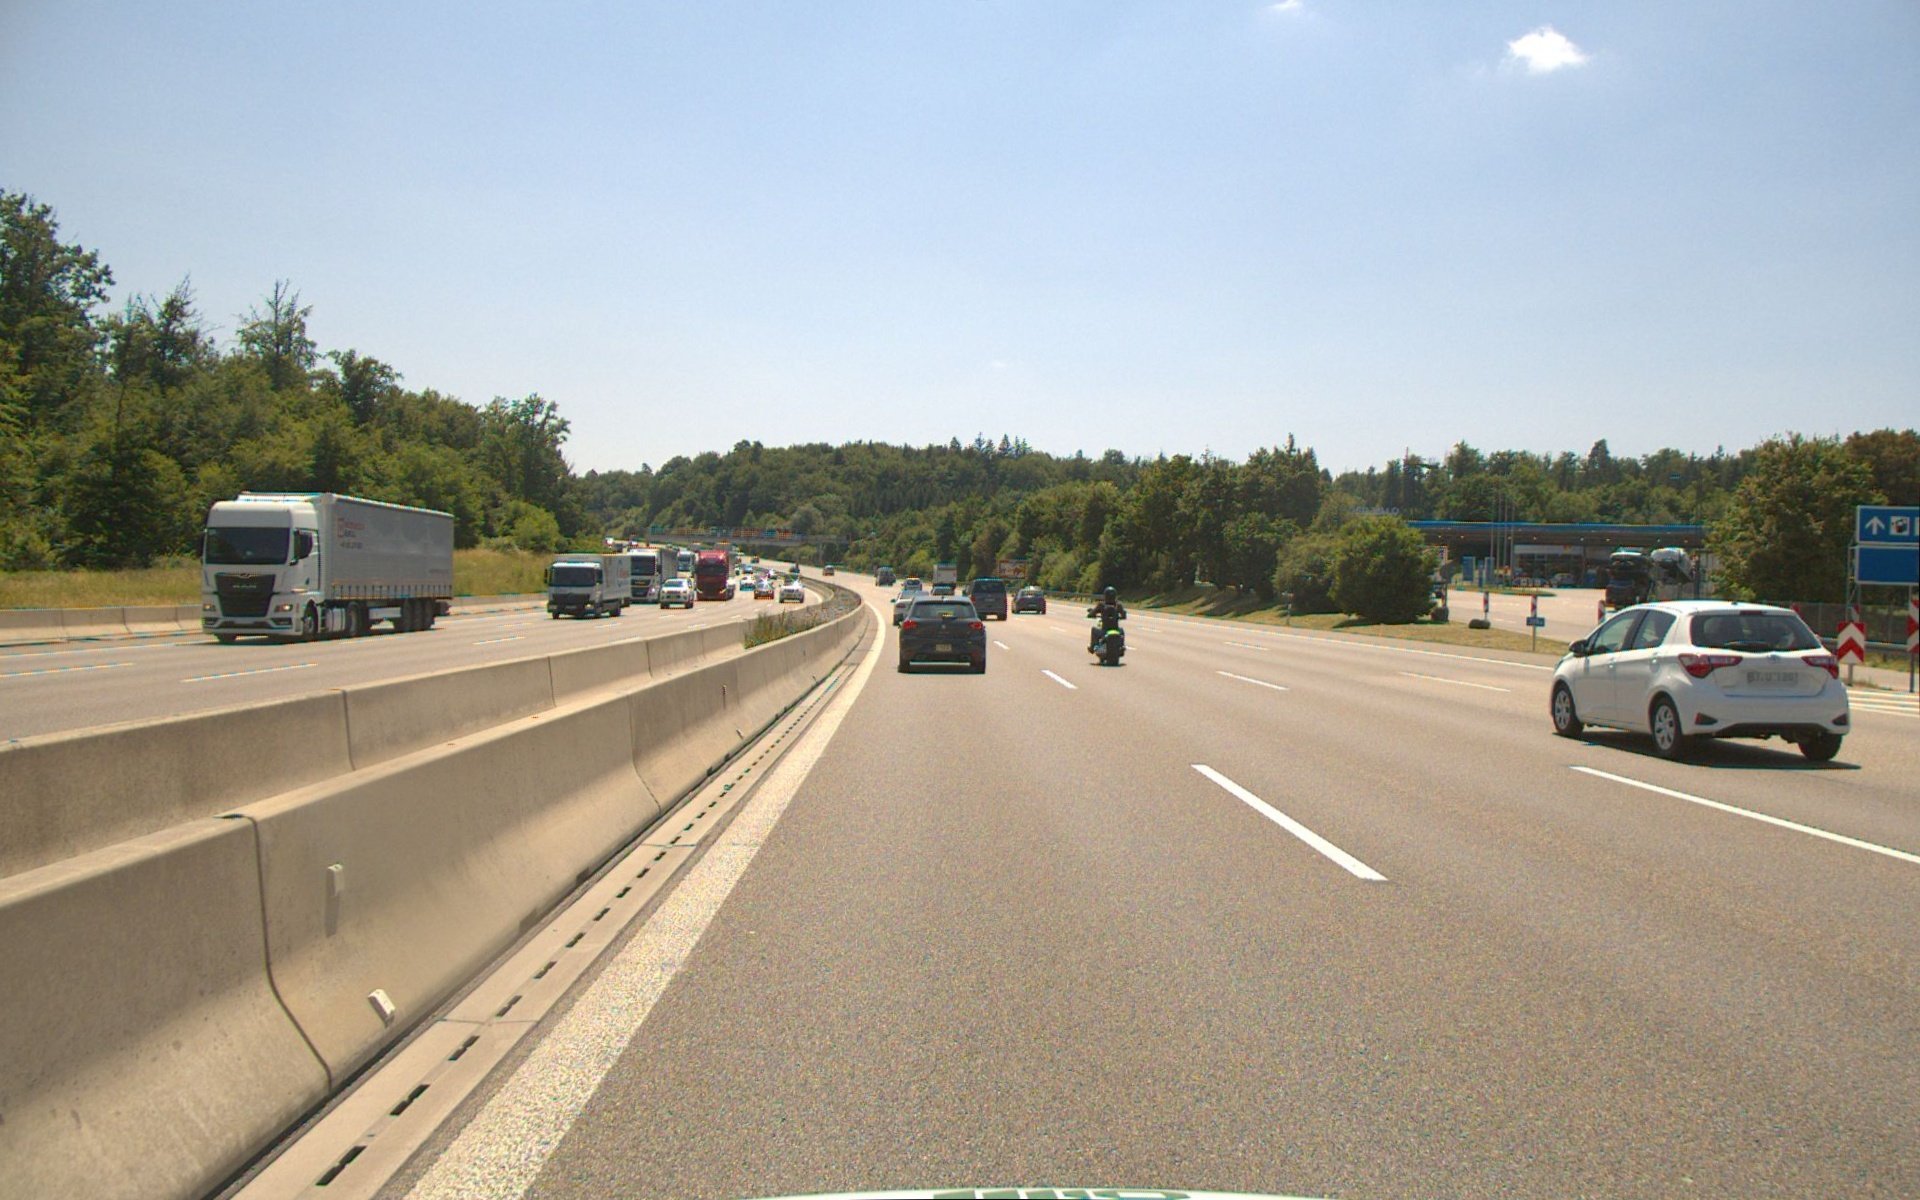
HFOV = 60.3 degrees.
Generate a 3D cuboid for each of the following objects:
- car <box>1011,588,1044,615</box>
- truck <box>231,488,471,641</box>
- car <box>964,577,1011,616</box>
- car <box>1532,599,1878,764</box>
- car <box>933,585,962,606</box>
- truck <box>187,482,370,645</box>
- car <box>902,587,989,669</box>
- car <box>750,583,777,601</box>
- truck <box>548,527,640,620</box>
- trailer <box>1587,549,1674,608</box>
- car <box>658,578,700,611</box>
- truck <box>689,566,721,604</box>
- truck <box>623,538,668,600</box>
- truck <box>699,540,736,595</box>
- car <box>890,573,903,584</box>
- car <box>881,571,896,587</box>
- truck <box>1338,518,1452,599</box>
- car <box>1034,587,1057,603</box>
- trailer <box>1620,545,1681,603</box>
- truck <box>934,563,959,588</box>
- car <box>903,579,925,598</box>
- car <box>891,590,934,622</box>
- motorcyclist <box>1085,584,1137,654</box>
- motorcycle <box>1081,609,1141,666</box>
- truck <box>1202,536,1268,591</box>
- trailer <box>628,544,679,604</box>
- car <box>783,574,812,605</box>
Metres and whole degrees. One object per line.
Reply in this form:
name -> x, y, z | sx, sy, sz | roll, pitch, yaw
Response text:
car -> 3.929, 0.084, 96.996 | 1.642, 1.456, 3.683 | 2, 0, -2
truck -> -19.080, -1.023, 53.287 | 2.702, 4.250, 14.504 | 0, 0, -1
car -> 1.322, -0.171, 81.576 | 2.055, 1.884, 4.079 | 1, 0, -2
car -> 7.497, 0.737, 17.148 | 1.632, 1.458, 4.375 | 1, 0, 0
car -> -0.875, -0.333, 115.510 | 1.805, 1.243, 4.222 | 3, 1, -3
truck -> -18.919, -0.966, 46.349 | 2.627, 4.250, 6.230 | 0, 0, -1
car -> -0.236, 0.546, 32.579 | 1.591, 1.513, 3.685 | 1, -1, 1
car -> -17.441, -0.747, 147.024 | 1.953, 1.575, 4.879 | 1, 1, -2
truck -> -17.734, -1.222, 80.672 | 2.480, 4.250, 9.617 | 0, 0, -1
trailer -> 44.982, -1.579, 110.651 | 3.102, 3.700, 13.587 | 1, 2, 32
car -> -17.974, -0.364, 106.029 | 1.953, 2.004, 5.735 | 1, 1, -2
truck -> -30.922, -1.826, 201.147 | 2.843, 4.427, 16.537 | 1, 0, -5
truck -> -23.309, -2.303, 122.725 | 2.452, 4.427, 6.600 | 1, 1, -4
truck -> -20.144, -2.705, 137.614 | 2.451, 4.427, 6.602 | 1, 1, -3
car -> -10.029, -3.363, 260.699 | 1.954, 1.601, 3.998 | 3, 1, -3
car -> -10.110, -2.968, 234.383 | 1.954, 2.048, 4.672 | 3, 1, -3
truck -> 36.299, -3.303, 139.152 | 5.396, 6.376, 15.429 | 0, 0, -1
car -> 6.594, -0.369, 127.340 | 1.576, 1.233, 3.459 | 1, -1, -1
trailer -> 48.695, -1.865, 116.535 | 3.024, 3.967, 5.949 | 1, 2, 32
truck -> -1.640, -2.961, 198.089 | 2.672, 2.834, 5.680 | 3, 1, -3
car -> -4.563, -1.195, 163.496 | 1.954, 1.713, 4.421 | 3, 1, -3
car -> -2.048, 0.242, 70.195 | 1.747, 1.287, 3.458 | 0, 0, -3
motorcyclist -> 3.243, 0.396, 35.564 | 0.943, 1.463, 1.234 | 1, 0, -3
motorcycle -> 3.229, 0.785, 35.558 | 0.958, 1.149, 2.270 | 1, 0, -3
truck -> 25.961, -3.410, 157.011 | 3.259, 4.913, 14.692 | 1, 1, -2
trailer -> -23.809, -2.112, 129.147 | 2.452, 4.426, 13.686 | 1, 1, -4
car -> -12.778, -0.847, 130.318 | 1.953, 2.329, 5.762 | 1, 1, -2
